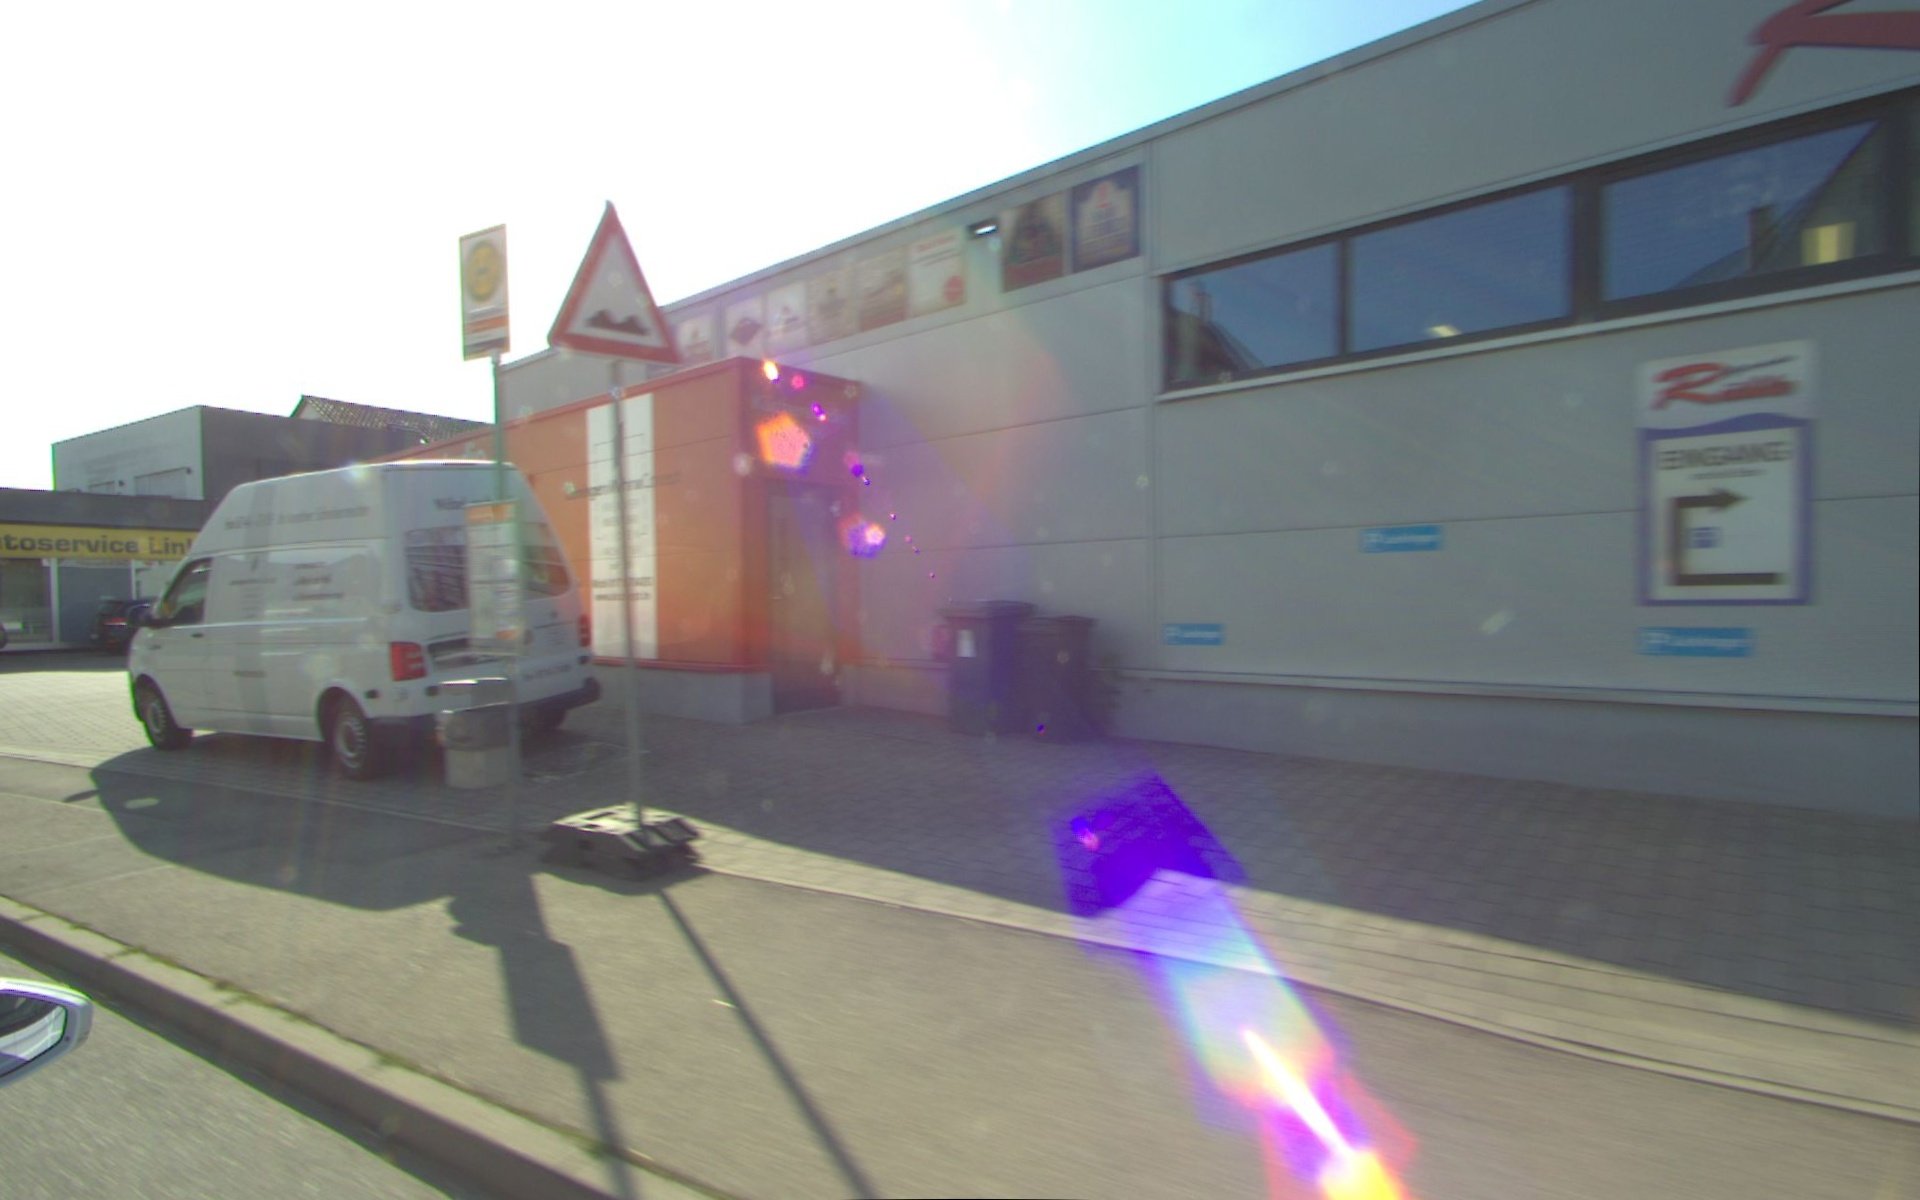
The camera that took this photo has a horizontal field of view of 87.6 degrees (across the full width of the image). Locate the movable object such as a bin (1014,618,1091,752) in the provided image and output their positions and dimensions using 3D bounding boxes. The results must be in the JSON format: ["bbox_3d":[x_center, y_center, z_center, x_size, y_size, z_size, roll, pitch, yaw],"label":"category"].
[{"bbox_3d":[0.713,0.634,7.708,0.425,0.979,0.427,1,1,41],"label":"movable object such as a bin"}]

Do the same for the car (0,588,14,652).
[{"bbox_3d":[-24.619,0.504,22.944,1.503,1.552,3.985,0,1,26],"label":"car"}]

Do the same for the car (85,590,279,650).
[{"bbox_3d":[-21.379,0.486,27.675,1.690,1.488,3.899,2,2,29],"label":"car"}]

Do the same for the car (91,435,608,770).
[{"bbox_3d":[-5.764,0.029,9.265,5.101,2.407,1.833,0,1,30],"label":"car"}]

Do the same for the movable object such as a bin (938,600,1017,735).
[{"bbox_3d":[0.142,0.527,8.122,0.484,1.056,0.427,1,1,41],"label":"movable object such as a bin"}]
